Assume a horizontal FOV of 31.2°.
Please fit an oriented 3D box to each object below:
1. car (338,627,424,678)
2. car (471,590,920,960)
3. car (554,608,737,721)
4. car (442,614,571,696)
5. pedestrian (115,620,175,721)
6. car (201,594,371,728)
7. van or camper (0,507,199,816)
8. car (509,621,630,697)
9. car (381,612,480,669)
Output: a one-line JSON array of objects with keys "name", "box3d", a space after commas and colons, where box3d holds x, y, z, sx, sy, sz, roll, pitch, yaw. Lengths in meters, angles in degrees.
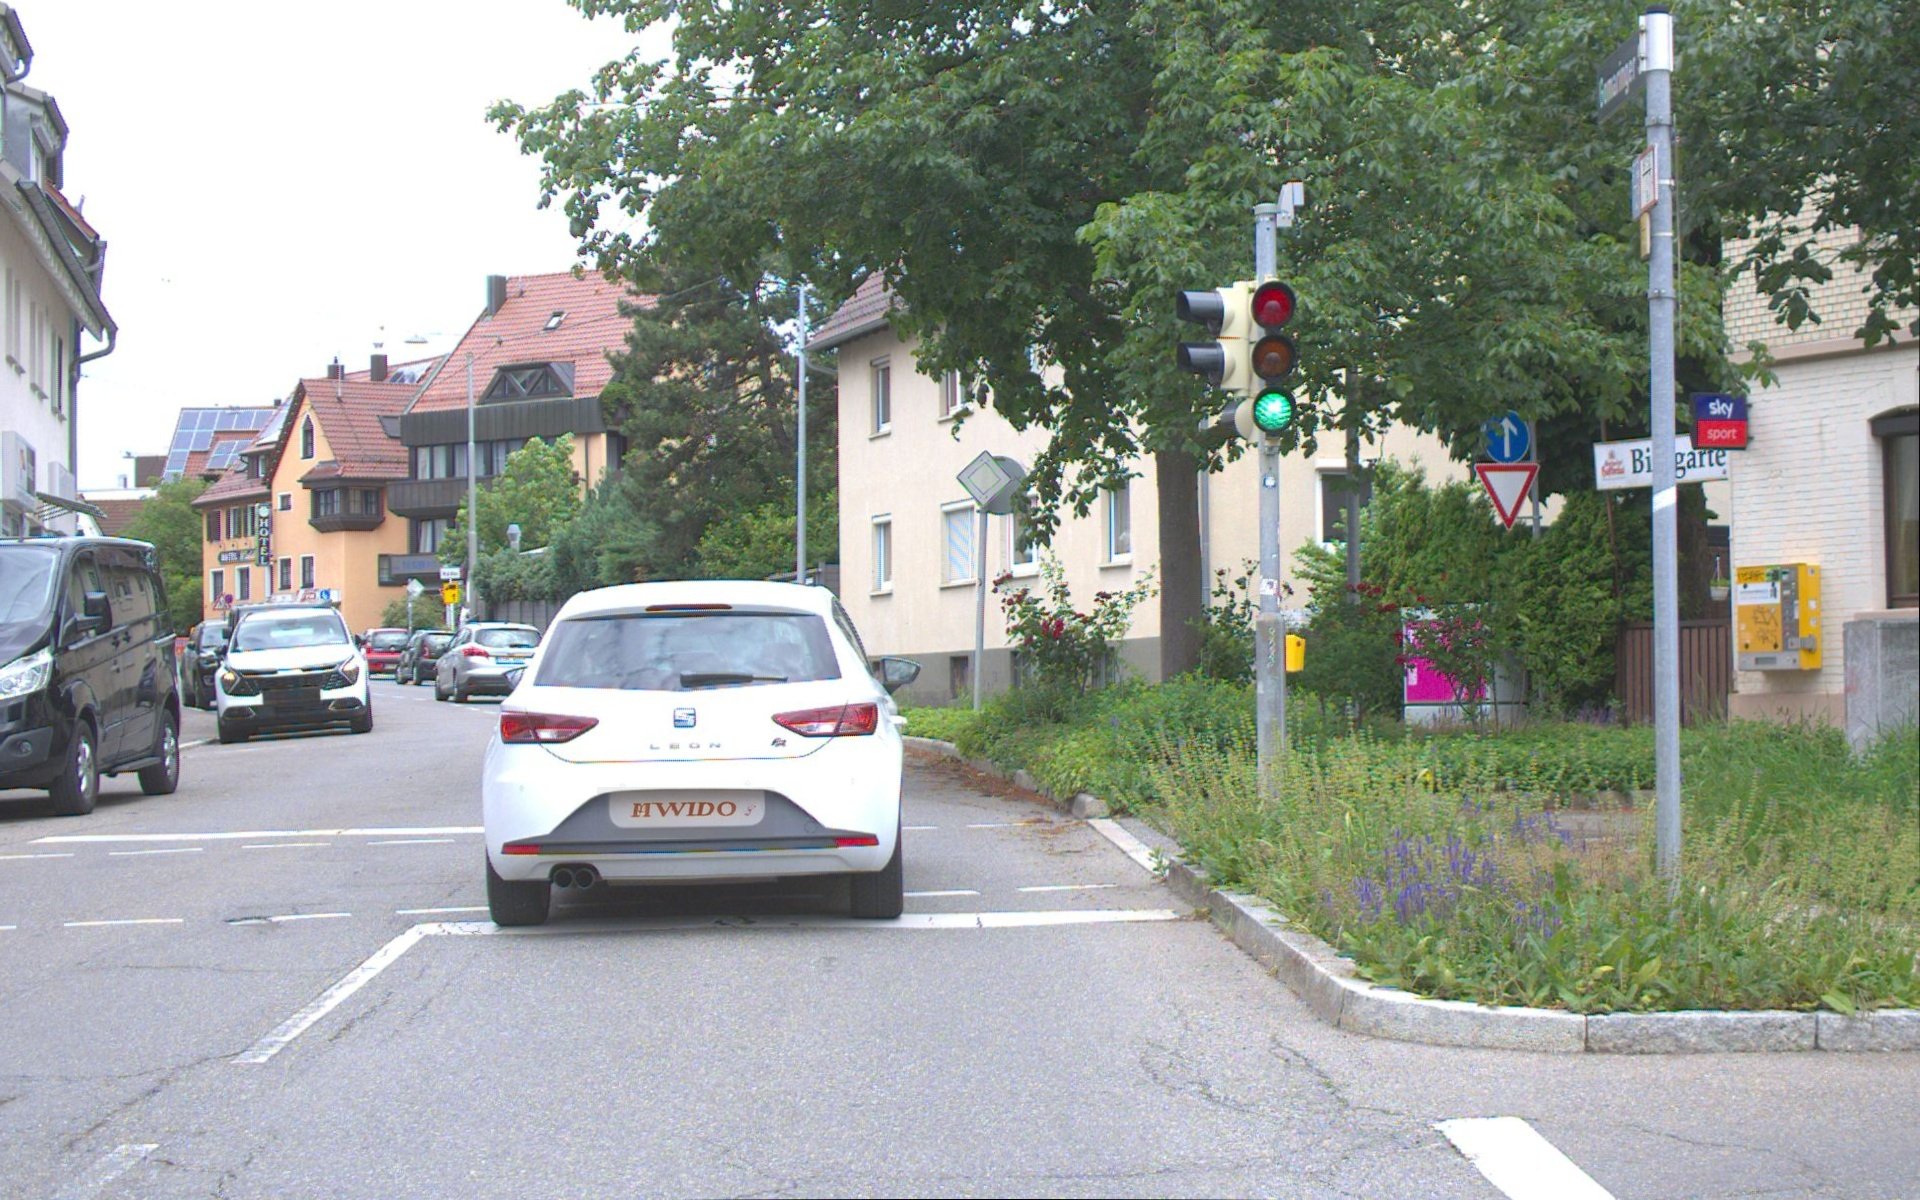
[{"name": "car", "box3d": [-16.804, 1.519, 99.671, 1.758, 1.447, 4.001, 0, -1, -20]}, {"name": "car", "box3d": [-1.120, 0.698, 15.523, 1.758, 1.447, 4.000, 0, 0, -2]}, {"name": "car", "box3d": [-4.239, 0.858, 45.870, 1.758, 1.447, 4.001, 0, -1, -15]}, {"name": "car", "box3d": [-8.327, 1.015, 62.845, 1.758, 1.447, 4.001, 0, -1, -16]}, {"name": "pedestrian", "box3d": [-12.315, 1.076, 51.970, 0.806, 1.495, 0.976, 2, -2, -12]}, {"name": "car", "box3d": [-8.612, 0.780, 44.260, 1.997, 1.628, 4.858, 1, -1, -9]}, {"name": "van or camper", "box3d": [-7.011, 0.512, 24.791, 2.073, 1.999, 4.857, -2, -2, -2]}, {"name": "car", "box3d": [-7.994, 1.214, 70.118, 1.758, 1.447, 4.001, 2, -2, -16]}, {"name": "car", "box3d": [-13.719, 1.064, 88.940, 1.758, 1.447, 4.001, 0, -1, -20]}]
